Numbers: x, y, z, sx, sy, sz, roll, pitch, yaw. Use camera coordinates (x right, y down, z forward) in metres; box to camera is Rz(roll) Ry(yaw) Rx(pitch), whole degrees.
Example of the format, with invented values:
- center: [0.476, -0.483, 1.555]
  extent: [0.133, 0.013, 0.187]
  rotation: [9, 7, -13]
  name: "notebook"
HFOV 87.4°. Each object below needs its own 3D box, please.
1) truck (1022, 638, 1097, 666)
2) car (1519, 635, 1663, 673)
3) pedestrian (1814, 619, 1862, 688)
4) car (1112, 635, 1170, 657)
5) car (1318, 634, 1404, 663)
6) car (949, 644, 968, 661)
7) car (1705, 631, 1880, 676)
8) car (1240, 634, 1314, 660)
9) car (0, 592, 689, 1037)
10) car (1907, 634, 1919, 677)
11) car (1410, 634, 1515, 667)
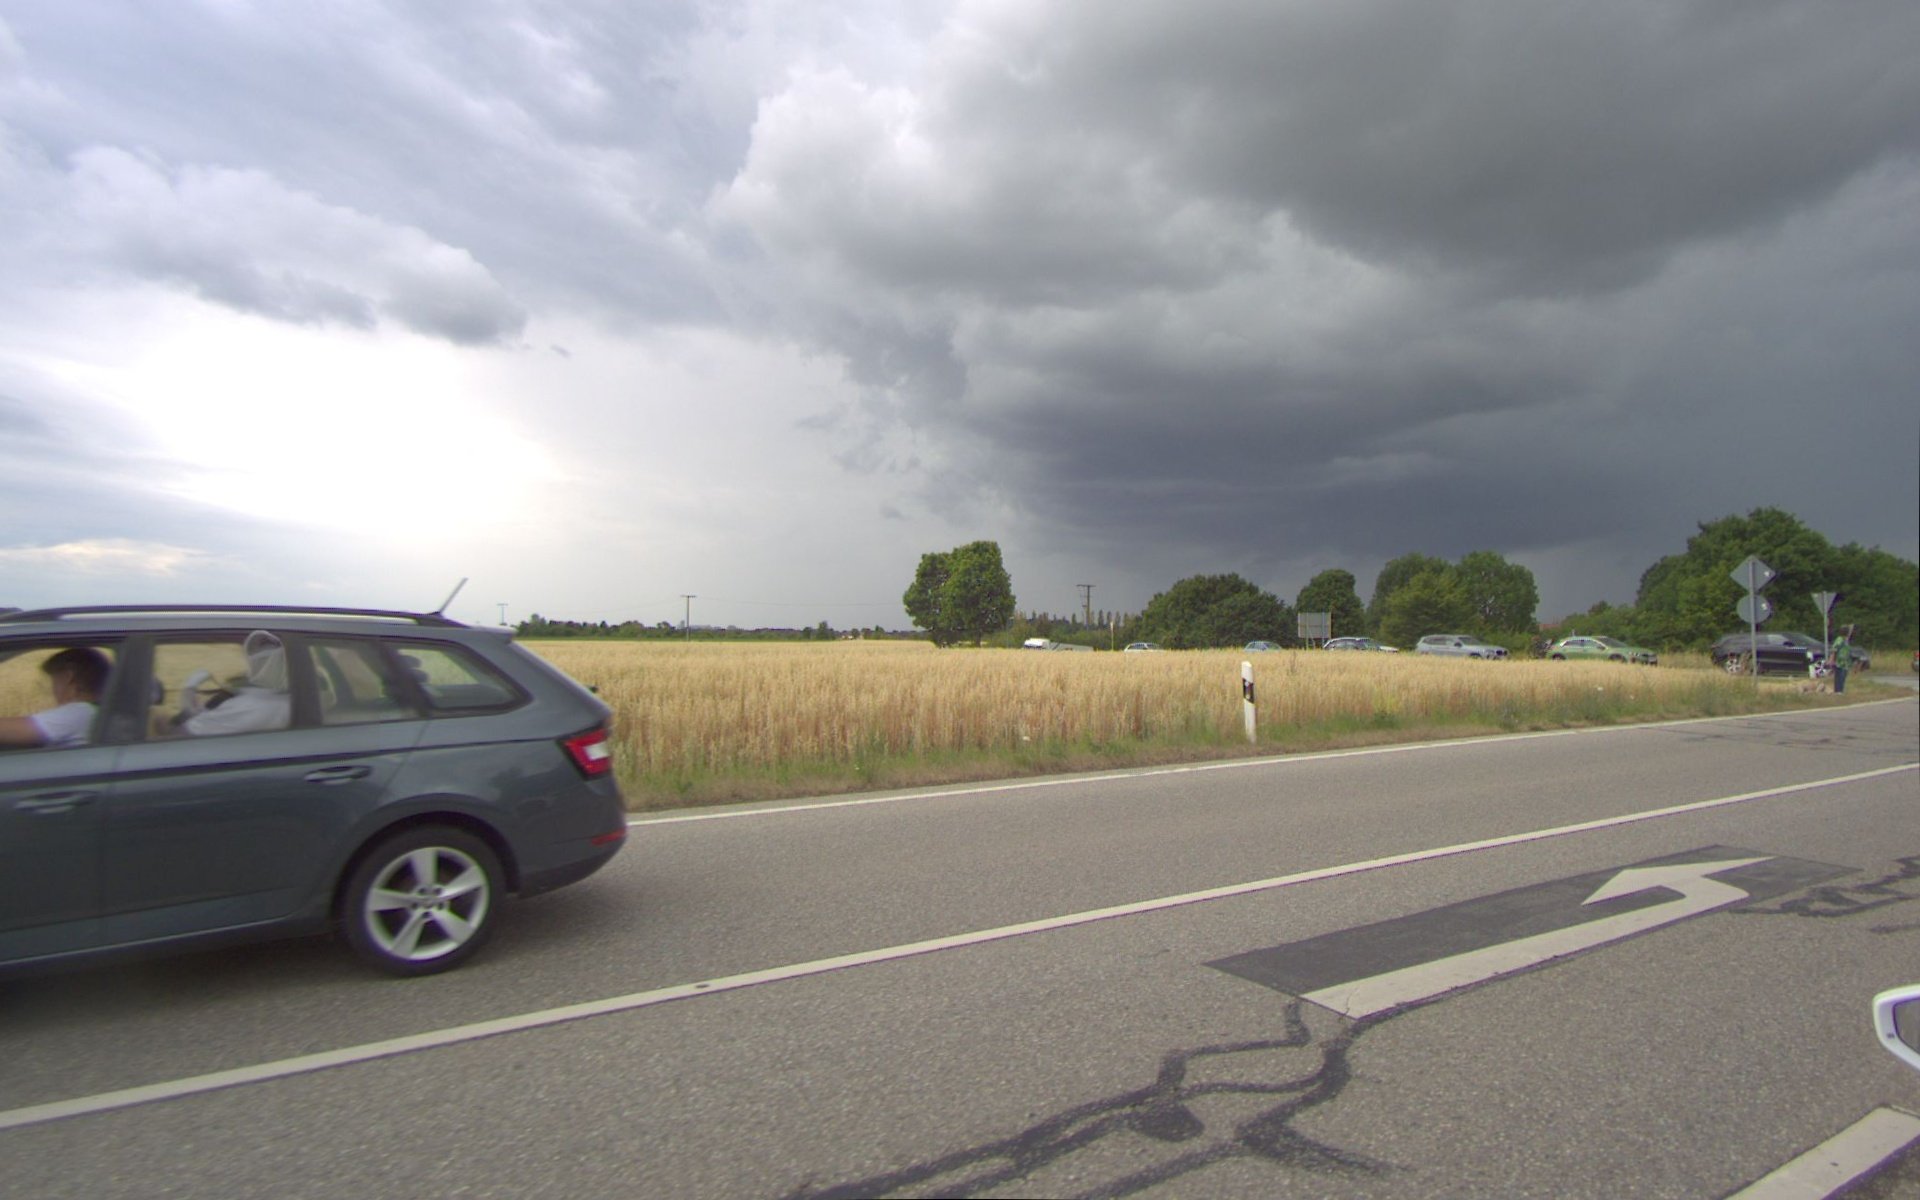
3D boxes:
- center: [12.562, 6.270, 124.097]
  extent: [2.751, 3.174, 16.292]
  rotation: [0, -2, 30]
  name: "truck"
- center: [27.847, 2.365, 44.530]
  extent: [1.884, 1.541, 5.272]
  rotation: [1, -2, -24]
  name: "car"
- center: [21.065, 1.290, 24.094]
  extent: [0.857, 1.626, 0.590]
  rotation: [2, -4, -33]
  name: "pedestrian"
- center: [13.316, 3.376, 74.056]
  extent: [1.886, 1.502, 4.475]
  rotation: [1, -2, -27]
  name: "car"
- center: [22.535, 2.707, 56.669]
  extent: [1.884, 1.502, 4.480]
  rotation: [1, -2, -24]
  name: "car"
- center: [-0.139, 5.415, 104.414]
  extent: [1.874, 1.703, 4.506]
  rotation: [0, -2, -1]
  name: "car"
- center: [31.205, 1.972, 37.835]
  extent: [1.884, 1.552, 4.728]
  rotation: [1, -2, -24]
  name: "car"
- center: [19.665, 2.912, 62.485]
  extent: [1.884, 1.502, 4.480]
  rotation: [1, -2, -24]
  name: "car"
- center: [-3.417, 0.734, 4.217]
  extent: [4.087, 1.478, 1.726]
  rotation: [2, -2, -33]
  name: "car"
- center: [34.469, 1.865, 33.186]
  extent: [1.894, 1.443, 4.417]
  rotation: [2, -2, -38]
  name: "car"
- center: [25.045, 2.510, 50.241]
  extent: [1.884, 1.537, 4.612]
  rotation: [1, -2, -24]
  name: "car"
